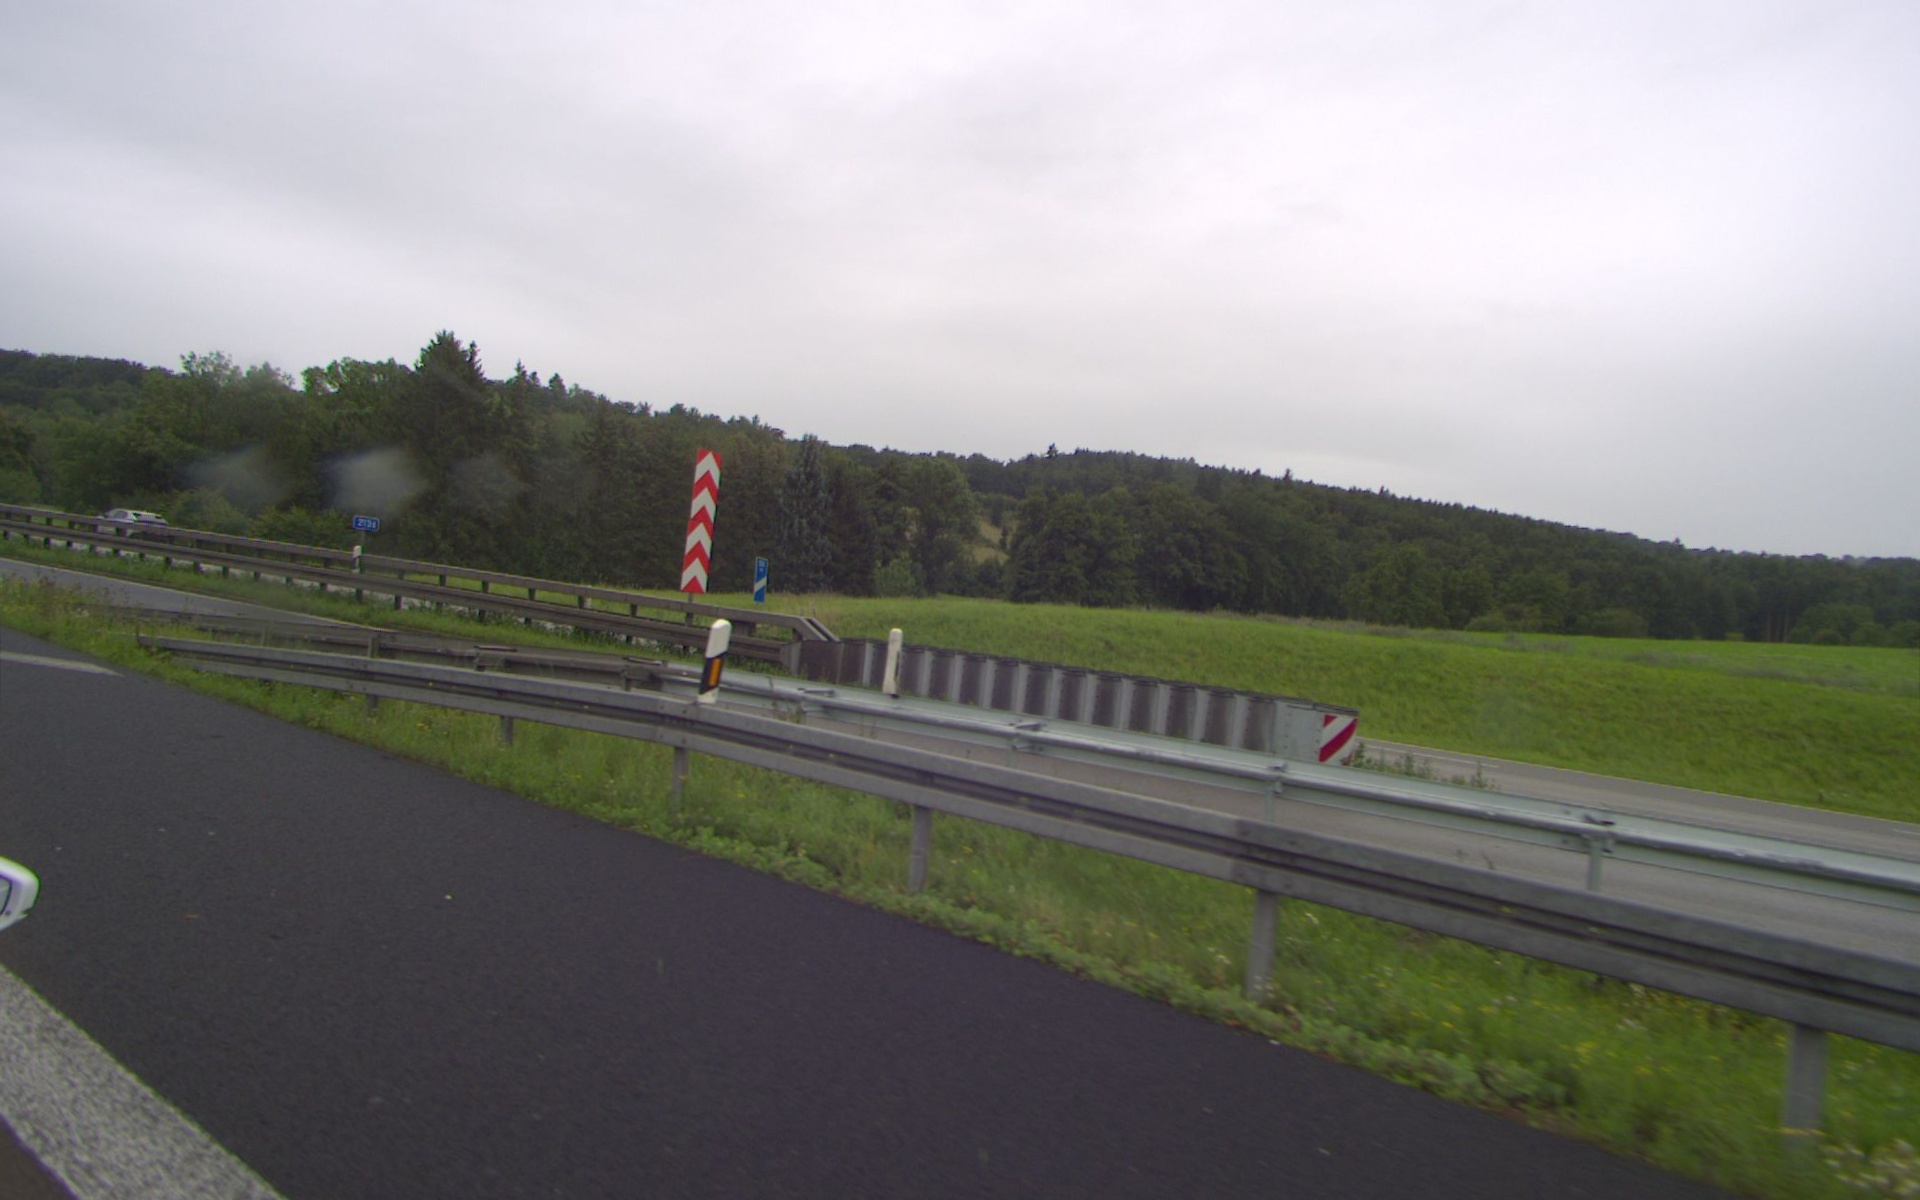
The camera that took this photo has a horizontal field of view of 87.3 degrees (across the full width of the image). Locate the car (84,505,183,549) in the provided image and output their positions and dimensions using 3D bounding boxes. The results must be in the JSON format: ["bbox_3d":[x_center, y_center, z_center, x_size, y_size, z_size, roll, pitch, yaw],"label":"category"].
[{"bbox_3d":[-39.812,-3.529,48.425,4.944,1.522,1.823,7,-1,28],"label":"car"}]
